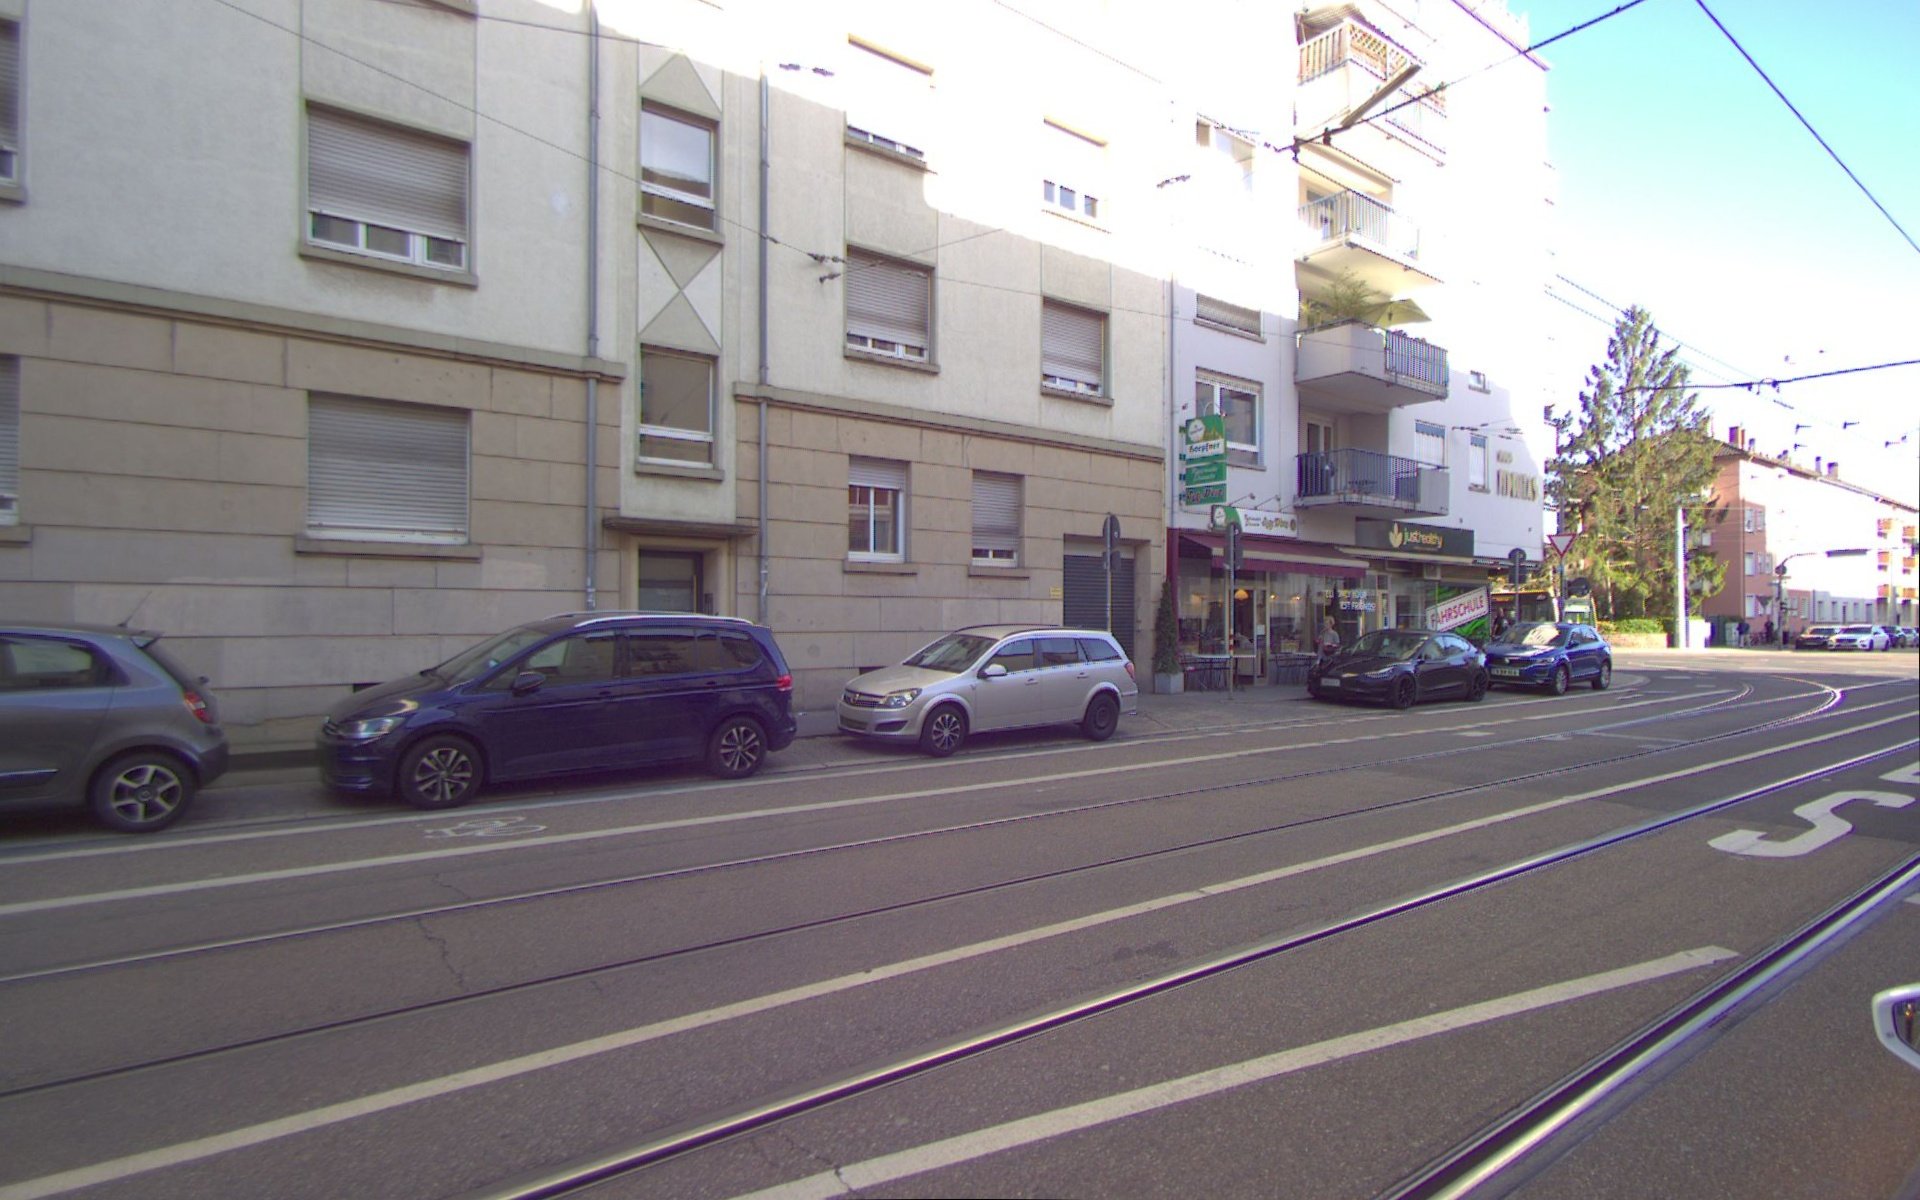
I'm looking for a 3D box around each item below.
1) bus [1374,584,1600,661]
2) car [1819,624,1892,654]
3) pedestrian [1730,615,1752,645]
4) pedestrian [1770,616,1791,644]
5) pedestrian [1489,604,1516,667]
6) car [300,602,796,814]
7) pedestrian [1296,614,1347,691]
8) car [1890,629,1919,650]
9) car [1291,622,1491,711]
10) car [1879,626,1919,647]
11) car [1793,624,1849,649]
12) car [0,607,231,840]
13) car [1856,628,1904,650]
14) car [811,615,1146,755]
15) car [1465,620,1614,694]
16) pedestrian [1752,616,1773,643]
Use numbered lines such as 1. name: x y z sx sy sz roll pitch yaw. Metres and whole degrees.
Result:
1. bus: 24.260 1.050 47.146 2.690 3.200 10.146 0 -1 -21
2. car: 49.698 2.118 55.738 4.351 1.595 1.840 1 -1 -31
3. pedestrian: 46.191 1.767 59.383 0.729 1.713 0.839 1 -1 -31
4. pedestrian: 50.951 1.853 62.387 0.729 1.713 0.839 1 -1 -31
5. pedestrian: 17.894 1.168 33.132 0.482 2.040 0.681 1 -1 -39
6. car: -3.884 0.901 9.907 4.210 1.637 1.684 2 0 -41
7. pedestrian: 7.518 1.079 20.899 0.714 1.569 0.693 0 -1 -34
8. car: 74.204 3.059 78.288 3.965 1.517 1.896 1 -1 -38
9. car: 8.517 1.247 19.711 4.272 1.529 1.687 2 0 -37
10. car: 69.965 2.675 74.643 3.965 1.517 1.896 1 -1 -38
11. car: 51.839 2.150 60.447 3.967 1.452 1.895 1 -1 -40
12. car: -7.732 0.850 7.246 3.963 1.590 1.687 2 0 -37
13. car: 65.081 2.722 71.062 3.965 1.517 1.896 1 -1 -38
14. car: 0.355 1.023 13.335 4.347 1.529 1.686 2 0 -38
15. car: 13.444 1.270 23.210 3.968 1.529 1.730 2 0 -40
16. pedestrian: 50.390 1.849 63.061 0.729 1.713 0.839 1 -1 -31
